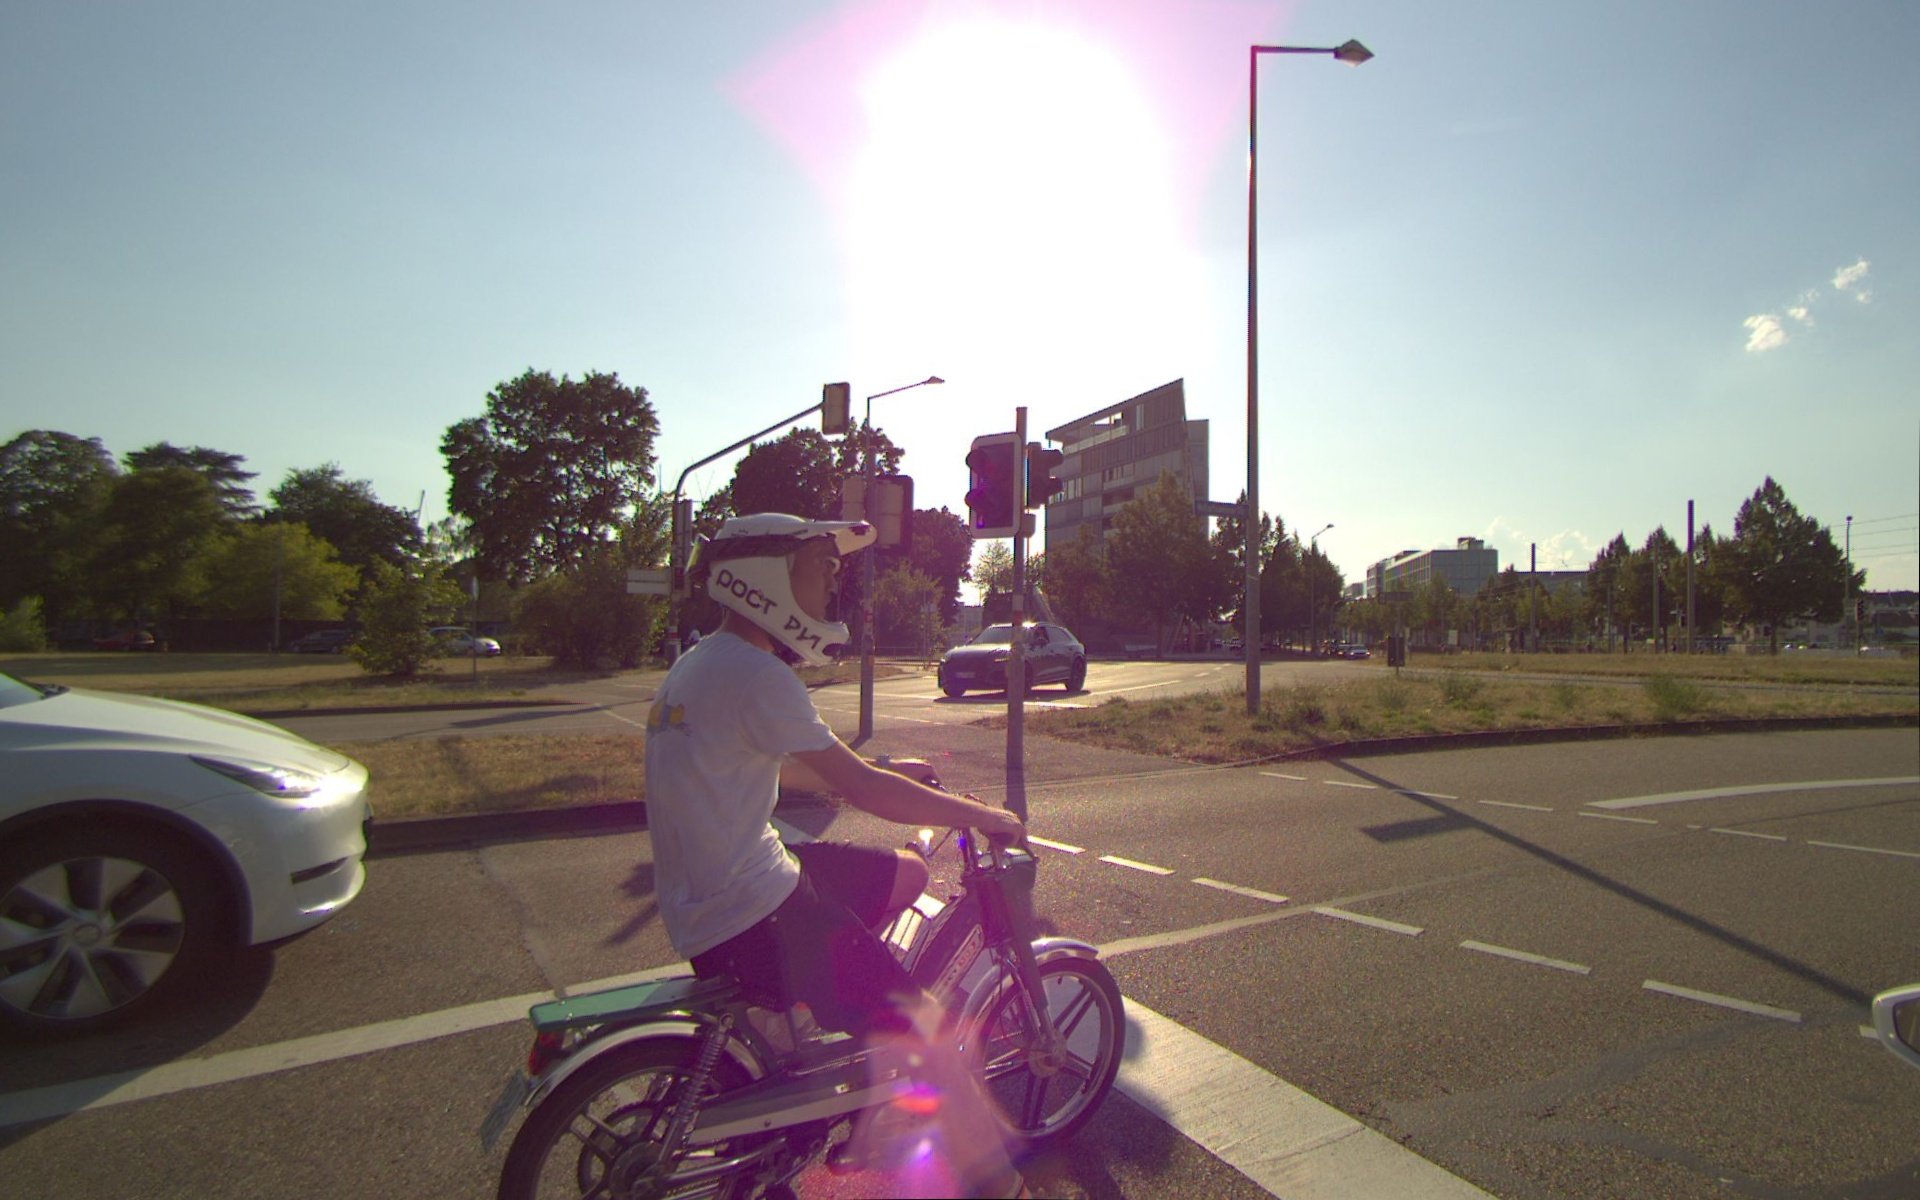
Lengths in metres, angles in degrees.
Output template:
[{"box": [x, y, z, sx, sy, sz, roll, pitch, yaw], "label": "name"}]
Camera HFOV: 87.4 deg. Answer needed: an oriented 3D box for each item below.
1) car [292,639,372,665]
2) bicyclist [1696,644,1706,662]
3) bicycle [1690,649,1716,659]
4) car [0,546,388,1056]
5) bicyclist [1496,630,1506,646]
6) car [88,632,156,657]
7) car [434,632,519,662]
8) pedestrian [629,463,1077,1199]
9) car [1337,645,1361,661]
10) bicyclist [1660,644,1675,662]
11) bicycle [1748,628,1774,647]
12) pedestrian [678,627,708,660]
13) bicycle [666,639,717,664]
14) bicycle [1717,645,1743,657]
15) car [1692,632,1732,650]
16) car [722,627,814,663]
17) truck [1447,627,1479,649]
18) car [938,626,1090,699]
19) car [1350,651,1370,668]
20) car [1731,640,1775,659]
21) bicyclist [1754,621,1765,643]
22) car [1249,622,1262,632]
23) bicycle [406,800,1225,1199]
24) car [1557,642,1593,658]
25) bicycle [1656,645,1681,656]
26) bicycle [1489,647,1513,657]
[{"box": [-39.069, 3.191, 62.502, 4.312, 1.545, 1.657, 0, -2, 13], "label": "car"}, {"box": [59.086, 4.221, 80.119, 0.644, 1.343, 0.517, -1, -2, 38], "label": "bicyclist"}, {"box": [59.178, 4.280, 80.031, 1.694, 0.754, 0.479, -1, -2, 37], "label": "bicycle"}, {"box": [-4.552, 0.608, 3.182, 4.630, 1.620, 1.724, 2, -1, -35], "label": "car"}, {"box": [45.249, 3.160, 84.025, 0.641, 1.343, 0.519, 0, -1, 14], "label": "bicyclist"}, {"box": [-54.219, 2.842, 65.034, 3.308, 1.567, 1.584, 0, -2, 9], "label": "car"}, {"box": [-25.956, 2.499, 53.925, 3.863, 1.545, 1.658, 0, -2, 11], "label": "car"}, {"box": [-0.261, 0.533, 2.340, 0.844, 1.539, 0.653, 1, -2, -30], "label": "pedestrian"}, {"box": [38.442, 5.220, 99.355, 1.960, 1.495, 4.002, 0, -2, 17], "label": "car"}, {"box": [57.264, 4.283, 81.300, 0.941, 1.375, 0.691, -1, -2, 34], "label": "bicyclist"}, {"box": [62.411, 2.938, 78.240, 1.517, 1.493, 0.478, -1, -2, 31], "label": "bicycle"}, {"box": [-12.467, 2.034, 46.854, 1.128, 1.527, 0.760, -1, -2, 31], "label": "pedestrian"}, {"box": [-12.526, 2.402, 46.872, 2.554, 1.111, 0.728, -1, -2, 32], "label": "bicycle"}, {"box": [59.469, 3.910, 77.575, 1.592, 0.871, 0.543, -1, -2, 35], "label": "bicycle"}, {"box": [89.230, 4.855, 119.185, 1.960, 2.040, 4.002, 0, -2, 5], "label": "car"}, {"box": [-9.558, 2.221, 50.121, 4.115, 1.695, 1.777, 0, -2, 15], "label": "car"}, {"box": [79.907, 6.024, 159.826, 3.074, 3.273, 7.178, 0, -2, 14], "label": "truck"}, {"box": [1.384, 1.414, 23.575, 1.624, 1.532, 4.635, -2, -3, 30], "label": "car"}, {"box": [36.589, 5.420, 91.929, 1.455, 1.495, 3.301, 0, -2, 17], "label": "car"}, {"box": [87.673, 5.446, 111.104, 1.960, 2.040, 4.002, 0, -2, 5], "label": "car"}, {"box": [62.357, 2.487, 78.304, 0.598, 1.694, 0.477, 0, -2, 31], "label": "bicyclist"}, {"box": [47.016, 4.293, 159.969, 1.753, 1.576, 4.002, 2, 0, 14], "label": "car"}, {"box": [-0.226, 1.017, 2.320, 1.834, 0.887, 0.475, 1, -2, -31], "label": "bicycle"}, {"box": [52.341, 4.268, 85.526, 2.629, 1.278, 1.111, -1, -2, 33], "label": "car"}, {"box": [57.321, 4.106, 81.256, 1.592, 0.871, 0.543, -1, -2, 35], "label": "bicycle"}, {"box": [45.267, 4.358, 84.006, 1.687, 0.754, 0.481, 0, -2, 14], "label": "bicycle"}]
